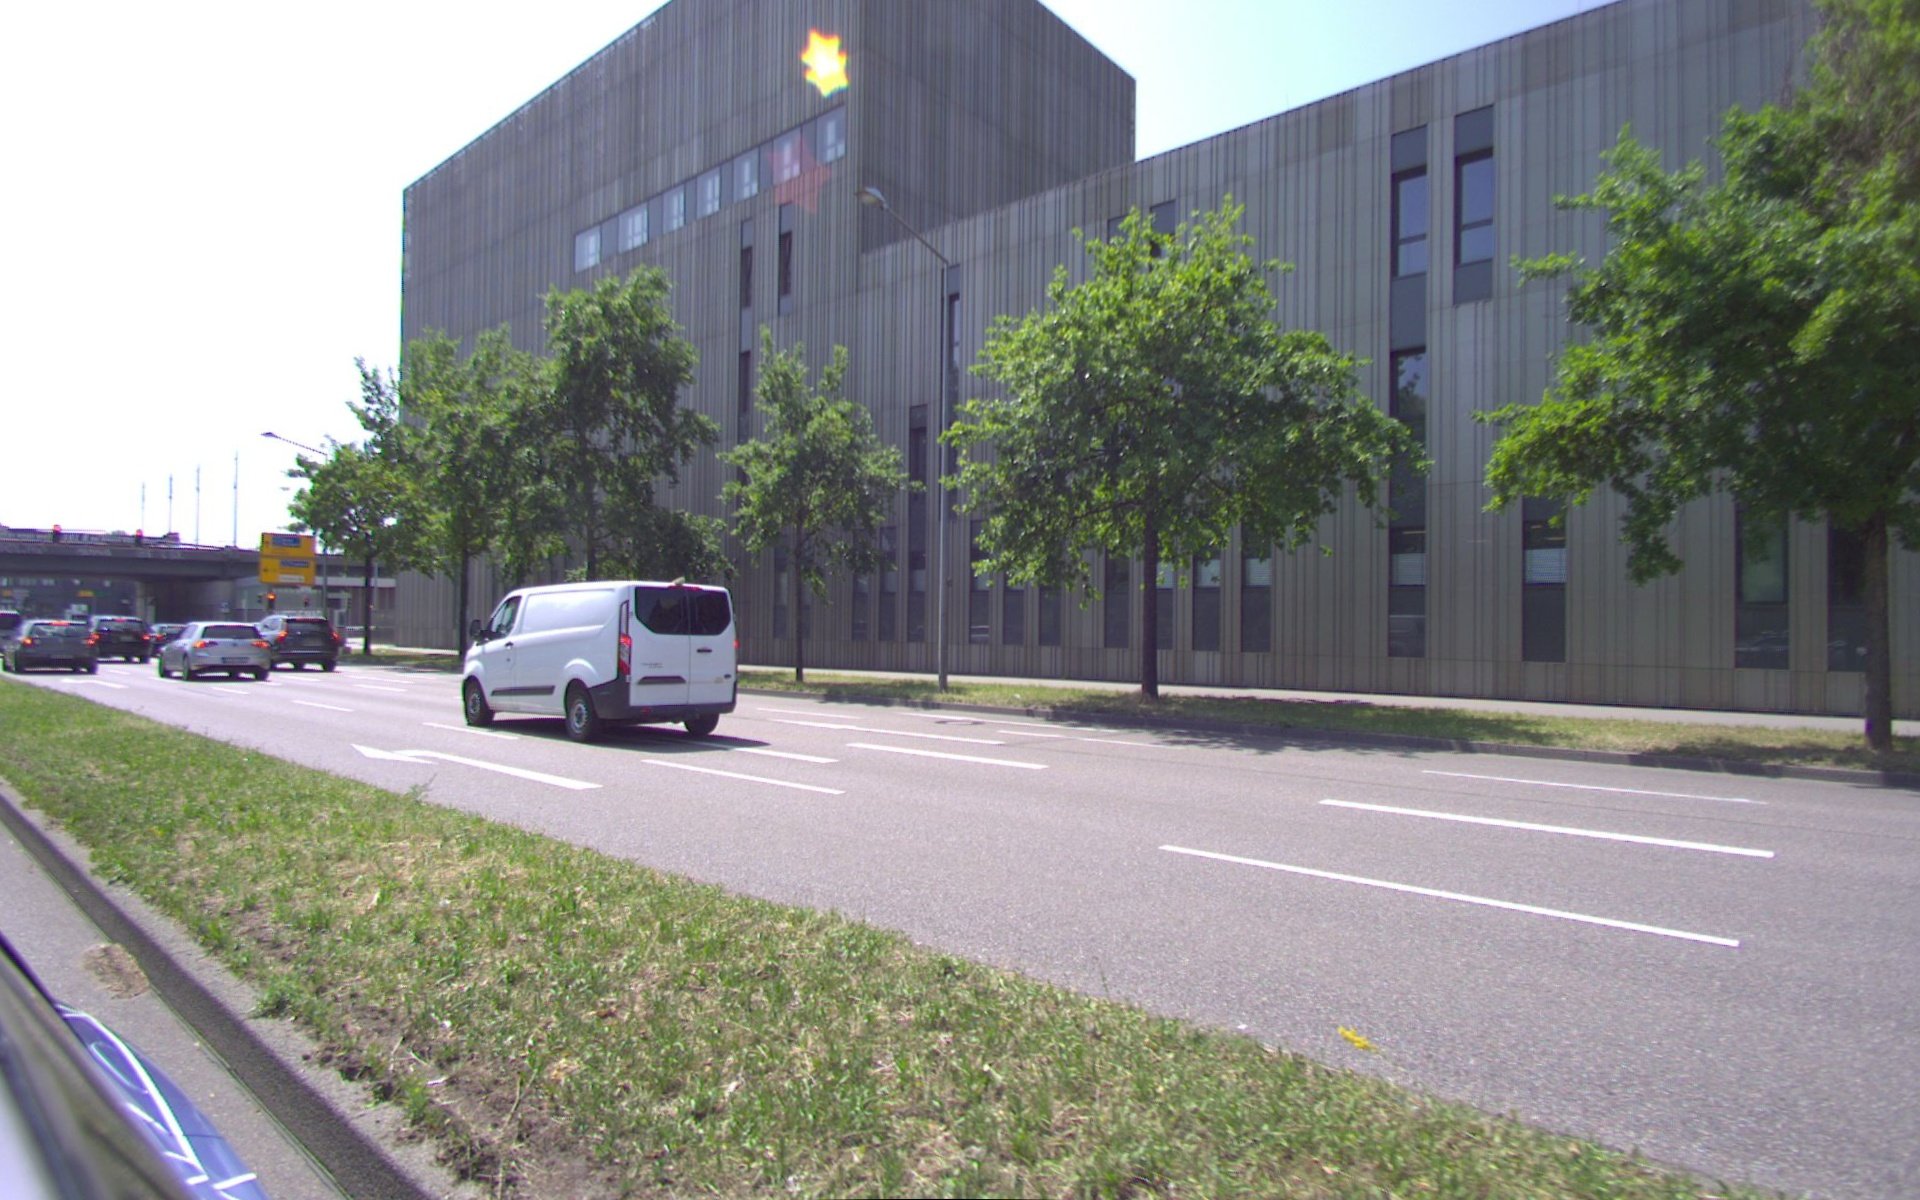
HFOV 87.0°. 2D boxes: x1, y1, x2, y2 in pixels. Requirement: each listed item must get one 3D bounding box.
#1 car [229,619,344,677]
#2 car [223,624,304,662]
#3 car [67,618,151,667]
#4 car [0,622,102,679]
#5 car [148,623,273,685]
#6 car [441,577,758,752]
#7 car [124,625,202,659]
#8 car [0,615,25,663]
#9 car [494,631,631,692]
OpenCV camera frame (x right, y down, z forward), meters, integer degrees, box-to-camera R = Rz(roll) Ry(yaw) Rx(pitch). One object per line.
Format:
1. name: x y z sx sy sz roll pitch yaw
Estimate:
1. car: -22.041 1.527 33.045 4.641 1.760 1.792 -1 -3 39
2. car: -30.627 1.900 44.457 4.367 1.555 1.792 -2 -4 40
3. car: -30.972 1.538 36.787 4.573 1.676 1.782 -1 -3 43
4. car: -25.348 1.363 28.024 4.055 1.477 1.791 -1 -3 41
5. car: -19.599 1.370 26.413 4.143 1.471 1.747 -1 -3 41
6. car: -5.088 0.815 13.920 4.895 2.008 1.889 -1 -3 41
7. car: -34.776 1.795 44.108 4.246 1.428 1.792 -1 -2 39
8. car: -38.034 1.502 39.464 4.712 1.815 1.791 -2 -4 42
9. car: -10.433 1.553 26.419 4.014 1.467 1.604 -1 -3 40
